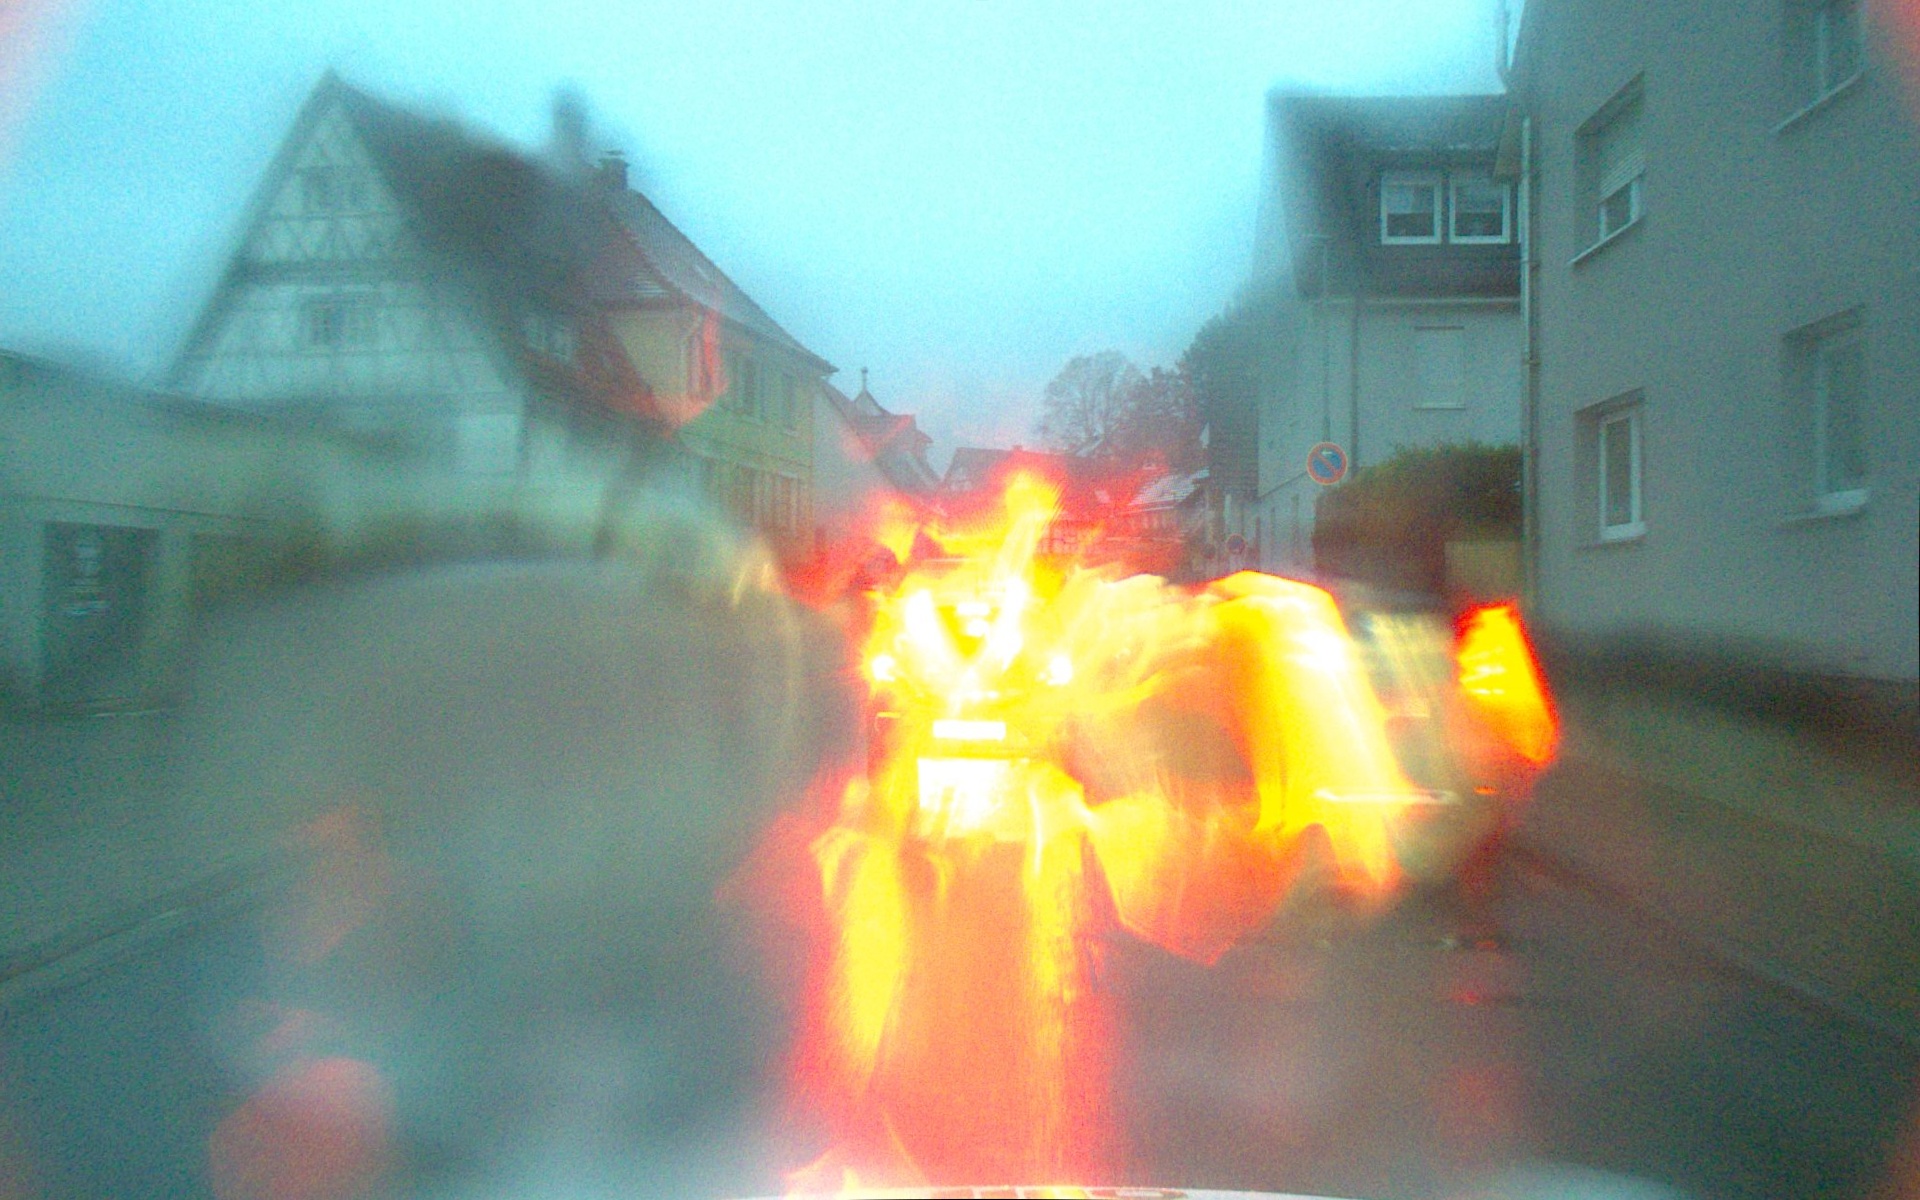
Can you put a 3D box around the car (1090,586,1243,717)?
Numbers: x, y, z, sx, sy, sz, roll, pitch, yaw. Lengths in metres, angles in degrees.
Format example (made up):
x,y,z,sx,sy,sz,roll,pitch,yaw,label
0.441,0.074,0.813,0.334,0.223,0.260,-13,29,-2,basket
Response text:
x,y,z,sx,sy,sz,roll,pitch,yaw,label
2.595,0.590,21.498,1.689,1.534,3.753,0,0,3,car

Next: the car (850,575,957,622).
x,y,z,sx,sy,sz,roll,pitch,yaw,label
-1.870,-0.059,55.581,3.434,1.533,1.693,1,0,3,car

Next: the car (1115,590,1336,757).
x,y,z,sx,sy,sz,roll,pitch,yaw,label
2.472,0.626,16.186,1.644,1.419,3.752,0,0,1,car

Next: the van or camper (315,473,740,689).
x,y,z,sx,sy,sz,roll,pitch,yaw,label
-6.756,-0.275,26.242,5.932,3.006,2.408,-2,0,7,van or camper

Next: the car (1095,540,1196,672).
x,y,z,sx,sy,sz,roll,pitch,yaw,label
3.615,0.093,32.745,1.776,2.455,3.753,0,0,3,car

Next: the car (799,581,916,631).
x,y,z,sx,sy,sz,roll,pitch,yaw,label
-3.272,0.176,52.890,3.432,1.533,1.694,1,0,9,car

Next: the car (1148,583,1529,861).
x,y,z,sx,sy,sz,roll,pitch,yaw,label
2.371,0.673,11.373,1.761,1.561,4.001,0,0,1,car

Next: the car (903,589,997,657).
x,y,z,sx,sy,sz,roll,pitch,yaw,label
-0.166,0.466,37.461,1.829,1.426,4.368,0,0,3,car

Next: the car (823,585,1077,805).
x,y,z,sx,sy,sz,roll,pitch,yaw,label
-0.033,0.656,13.698,1.758,1.502,4.001,2,0,1,car

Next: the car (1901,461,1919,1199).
x,y,z,sx,sy,sz,roll,pitch,yaw,label
2.406,0.646,0.458,1.810,1.665,4.335,1,0,0,car

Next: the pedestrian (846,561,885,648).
x,y,z,sx,sy,sz,roll,pitch,yaw,label
-2.262,0.110,39.519,0.855,2.049,0.795,0,0,1,pedestrian
